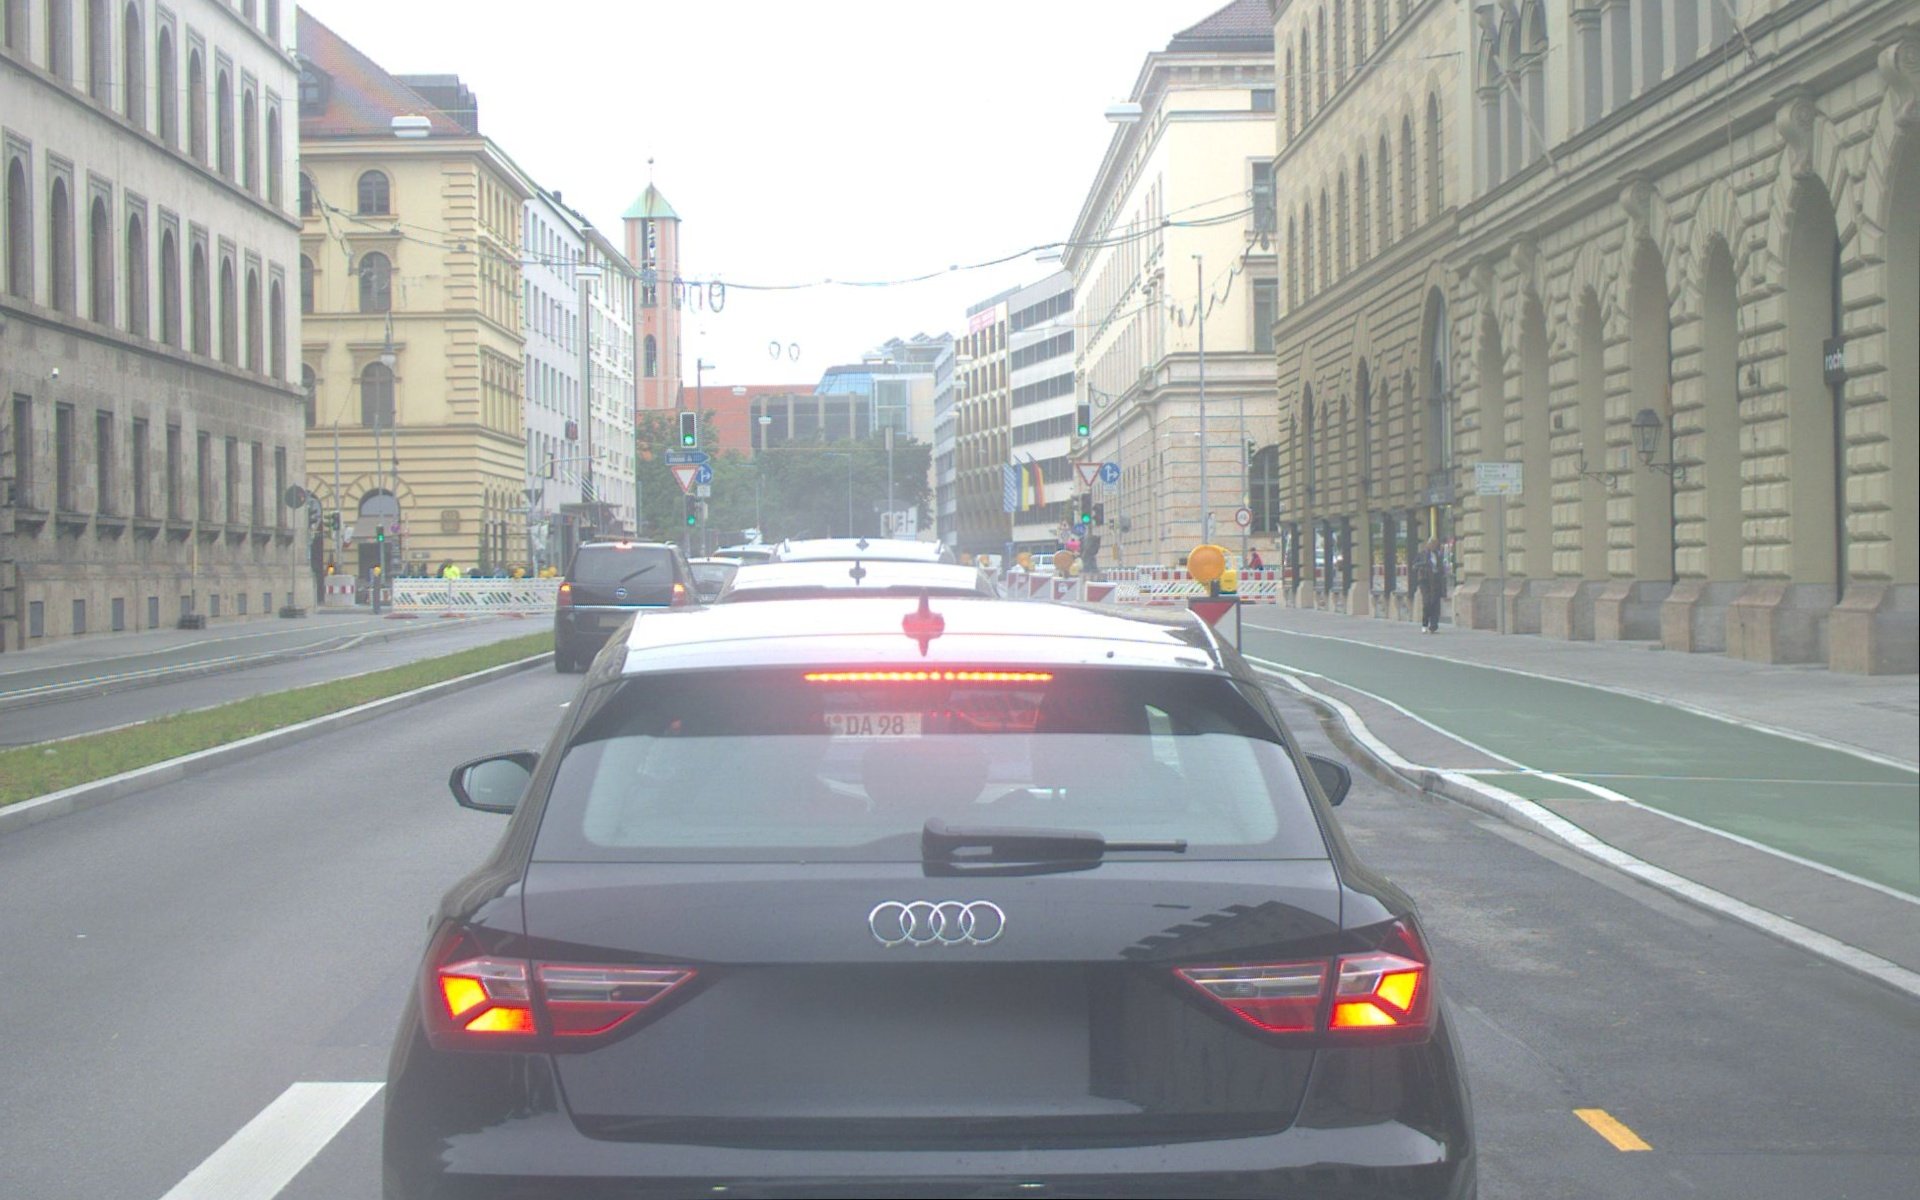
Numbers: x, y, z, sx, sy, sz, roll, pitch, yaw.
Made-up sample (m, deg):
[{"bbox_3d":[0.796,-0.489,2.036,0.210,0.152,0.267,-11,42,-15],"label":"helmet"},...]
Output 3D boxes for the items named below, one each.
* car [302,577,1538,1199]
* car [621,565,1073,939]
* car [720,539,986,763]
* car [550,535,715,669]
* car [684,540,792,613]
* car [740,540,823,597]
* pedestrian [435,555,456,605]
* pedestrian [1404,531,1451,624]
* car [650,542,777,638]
[{"bbox_3d":[-0.091,0.685,6.843,1.730,1.398,4.000,1,1,-1],"label":"car"},{"bbox_3d":[-0.471,0.570,15.294,1.730,1.398,4.000,1,1,-1],"label":"car"},{"bbox_3d":[-0.738,0.302,24.603,1.730,1.456,4.000,1,1,-1],"label":"car"},{"bbox_3d":[-4.101,-0.012,43.595,1.764,1.610,4.030,0,1,-1],"label":"car"},{"bbox_3d":[-4.552,-0.502,71.065,1.993,1.439,4.000,-1,1,0],"label":"car"},{"bbox_3d":[-4.670,-0.845,90.532,1.993,1.439,4.000,-1,1,0],"label":"car"},{"bbox_3d":[-18.635,-0.742,124.531,0.656,1.799,0.727,-1,1,-1],"label":"pedestrian"},{"bbox_3d":[8.227,-0.395,60.531,0.710,1.612,0.754,-1,1,-1],"label":"pedestrian"},{"bbox_3d":[-4.355,-0.203,61.216,1.993,1.622,4.000,-1,1,0],"label":"car"}]
